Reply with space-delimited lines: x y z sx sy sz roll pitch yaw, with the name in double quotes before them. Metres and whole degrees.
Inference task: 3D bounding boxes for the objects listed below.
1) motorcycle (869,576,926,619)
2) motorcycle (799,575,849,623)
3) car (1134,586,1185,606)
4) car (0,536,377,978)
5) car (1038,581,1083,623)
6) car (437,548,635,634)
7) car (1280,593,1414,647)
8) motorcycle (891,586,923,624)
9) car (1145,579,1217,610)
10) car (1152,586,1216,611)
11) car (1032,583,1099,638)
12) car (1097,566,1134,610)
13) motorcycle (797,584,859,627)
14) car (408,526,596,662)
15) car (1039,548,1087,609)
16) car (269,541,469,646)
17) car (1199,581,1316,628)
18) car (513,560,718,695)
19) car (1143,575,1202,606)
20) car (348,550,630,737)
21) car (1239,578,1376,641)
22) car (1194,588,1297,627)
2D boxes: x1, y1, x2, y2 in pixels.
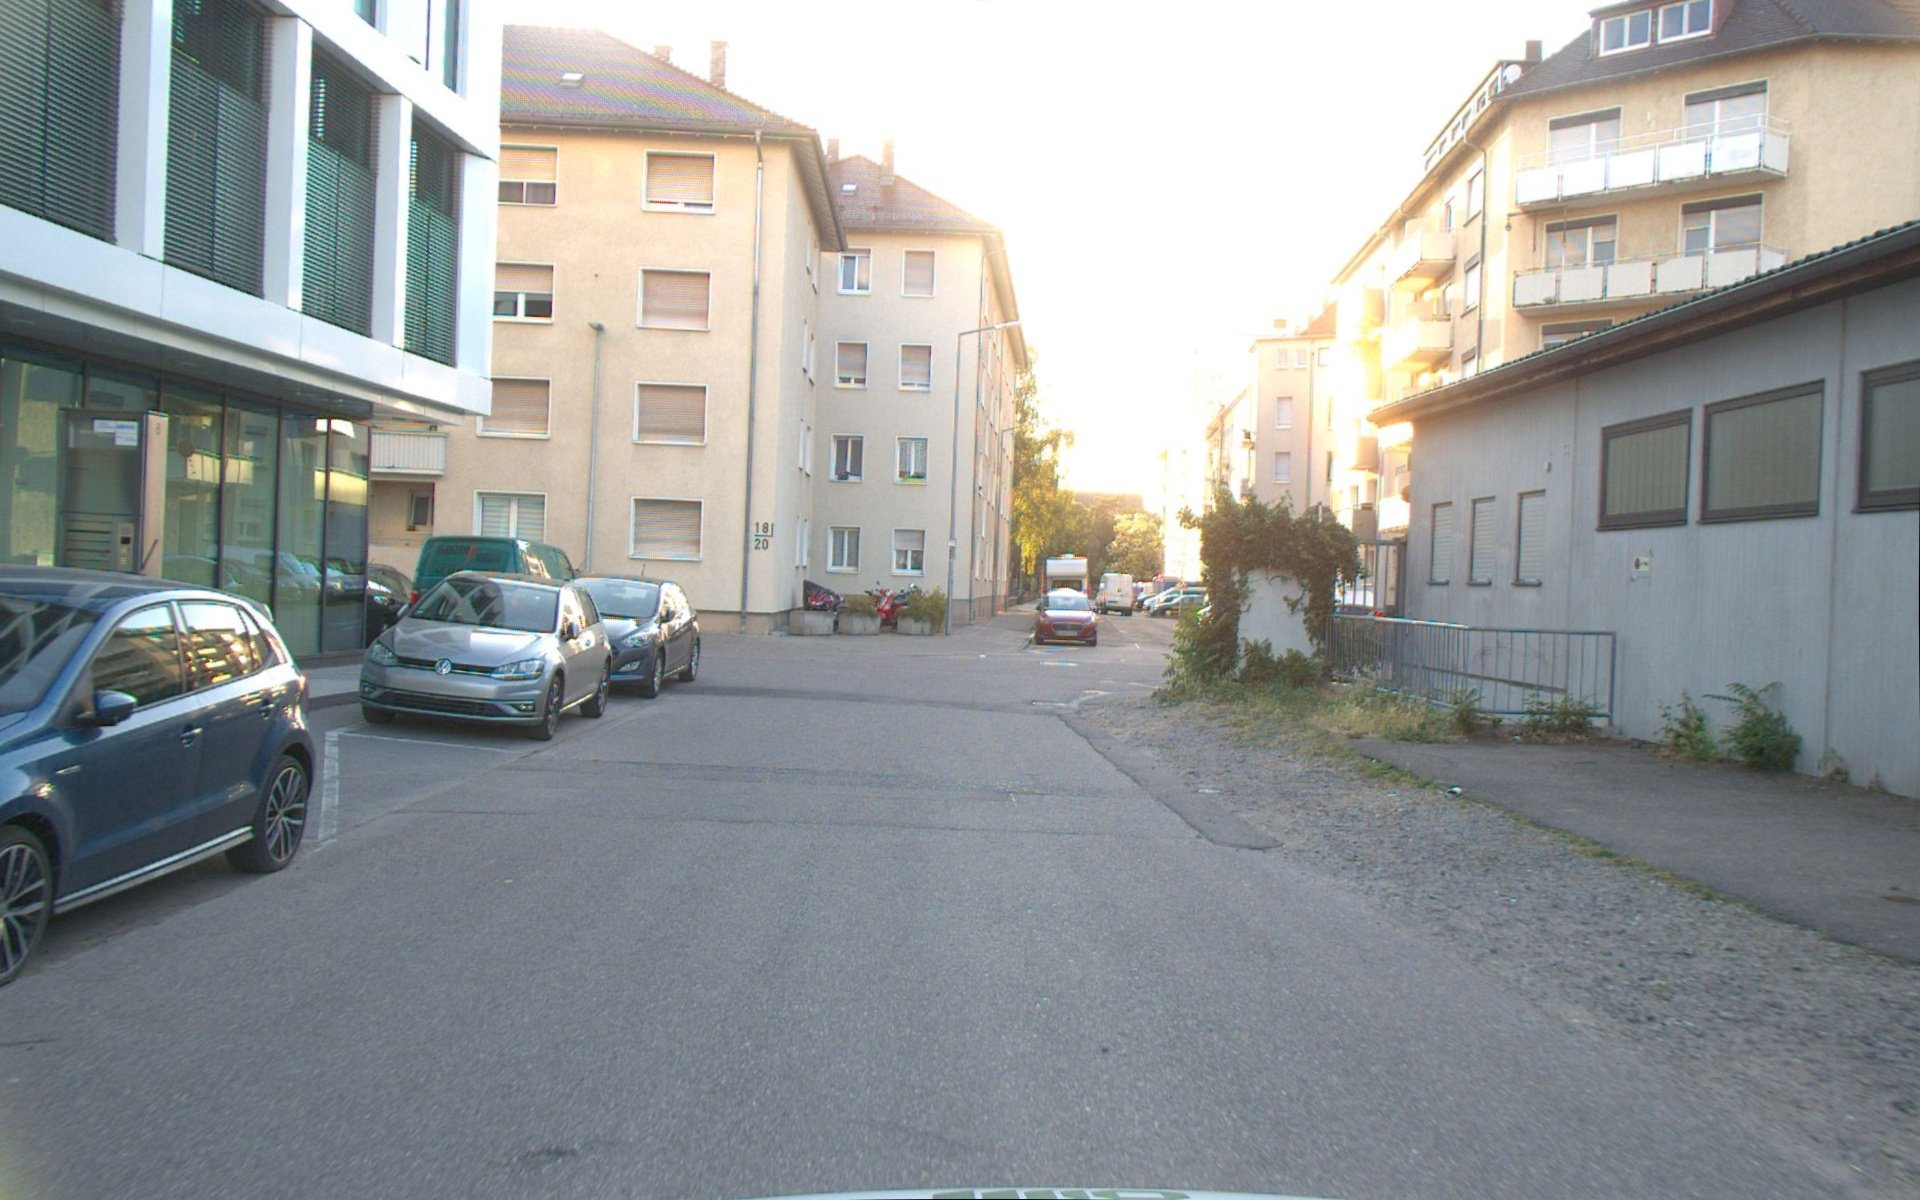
"motorcycle" -1.752 -0.064 46.756 0.675 1.180 2.031 2 1 28
"motorcycle" -3.827 -0.023 46.705 0.708 1.286 2.082 2 1 14
"car" 15.981 -0.313 132.509 3.903 1.557 1.660 1 1 3
"car" -4.126 0.502 7.176 1.615 1.463 4.184 6 1 -1
"car" 3.729 0.062 61.710 1.582 1.499 3.506 0 0 2
"car" -9.449 -0.219 37.076 3.926 1.645 1.882 2 5 -2
"car" 12.041 0.597 51.584 3.791 1.518 1.742 2 0 4
"motorcycle" -1.563 0.135 49.163 0.668 1.098 2.035 2 1 5
"car" 15.034 -0.392 112.704 4.712 2.002 1.740 1 1 3
"car" 14.229 -0.094 105.391 3.903 1.557 1.660 1 1 3
"car" 3.076 0.287 48.819 1.807 1.499 4.079 2 1 2
"car" 10.160 -0.788 108.343 2.084 2.765 4.835 0 0 2
"motorcycle" -3.528 0.152 44.413 0.709 1.098 2.080 2 1 24
"car" -7.510 -0.157 27.602 1.761 2.014 4.690 2 1 0
"car" 5.906 -1.222 94.055 2.565 3.326 7.701 0 0 4
"car" -9.921 -0.060 28.127 1.743 1.577 4.330 2 -1 0
"car" 12.439 0.184 69.384 4.623 1.943 2.060 0 0 3
"car" -4.571 0.314 22.608 1.744 1.504 4.331 6 1 0
"car" 15.254 -0.687 118.762 3.905 2.049 2.000 2 0 0
"car" -4.585 0.349 16.744 1.676 1.504 4.183 5 1 -2
"car" 11.506 0.298 54.949 4.190 1.893 1.742 2 0 4
"car" 12.436 0.312 72.221 4.233 1.666 1.819 0 0 3
